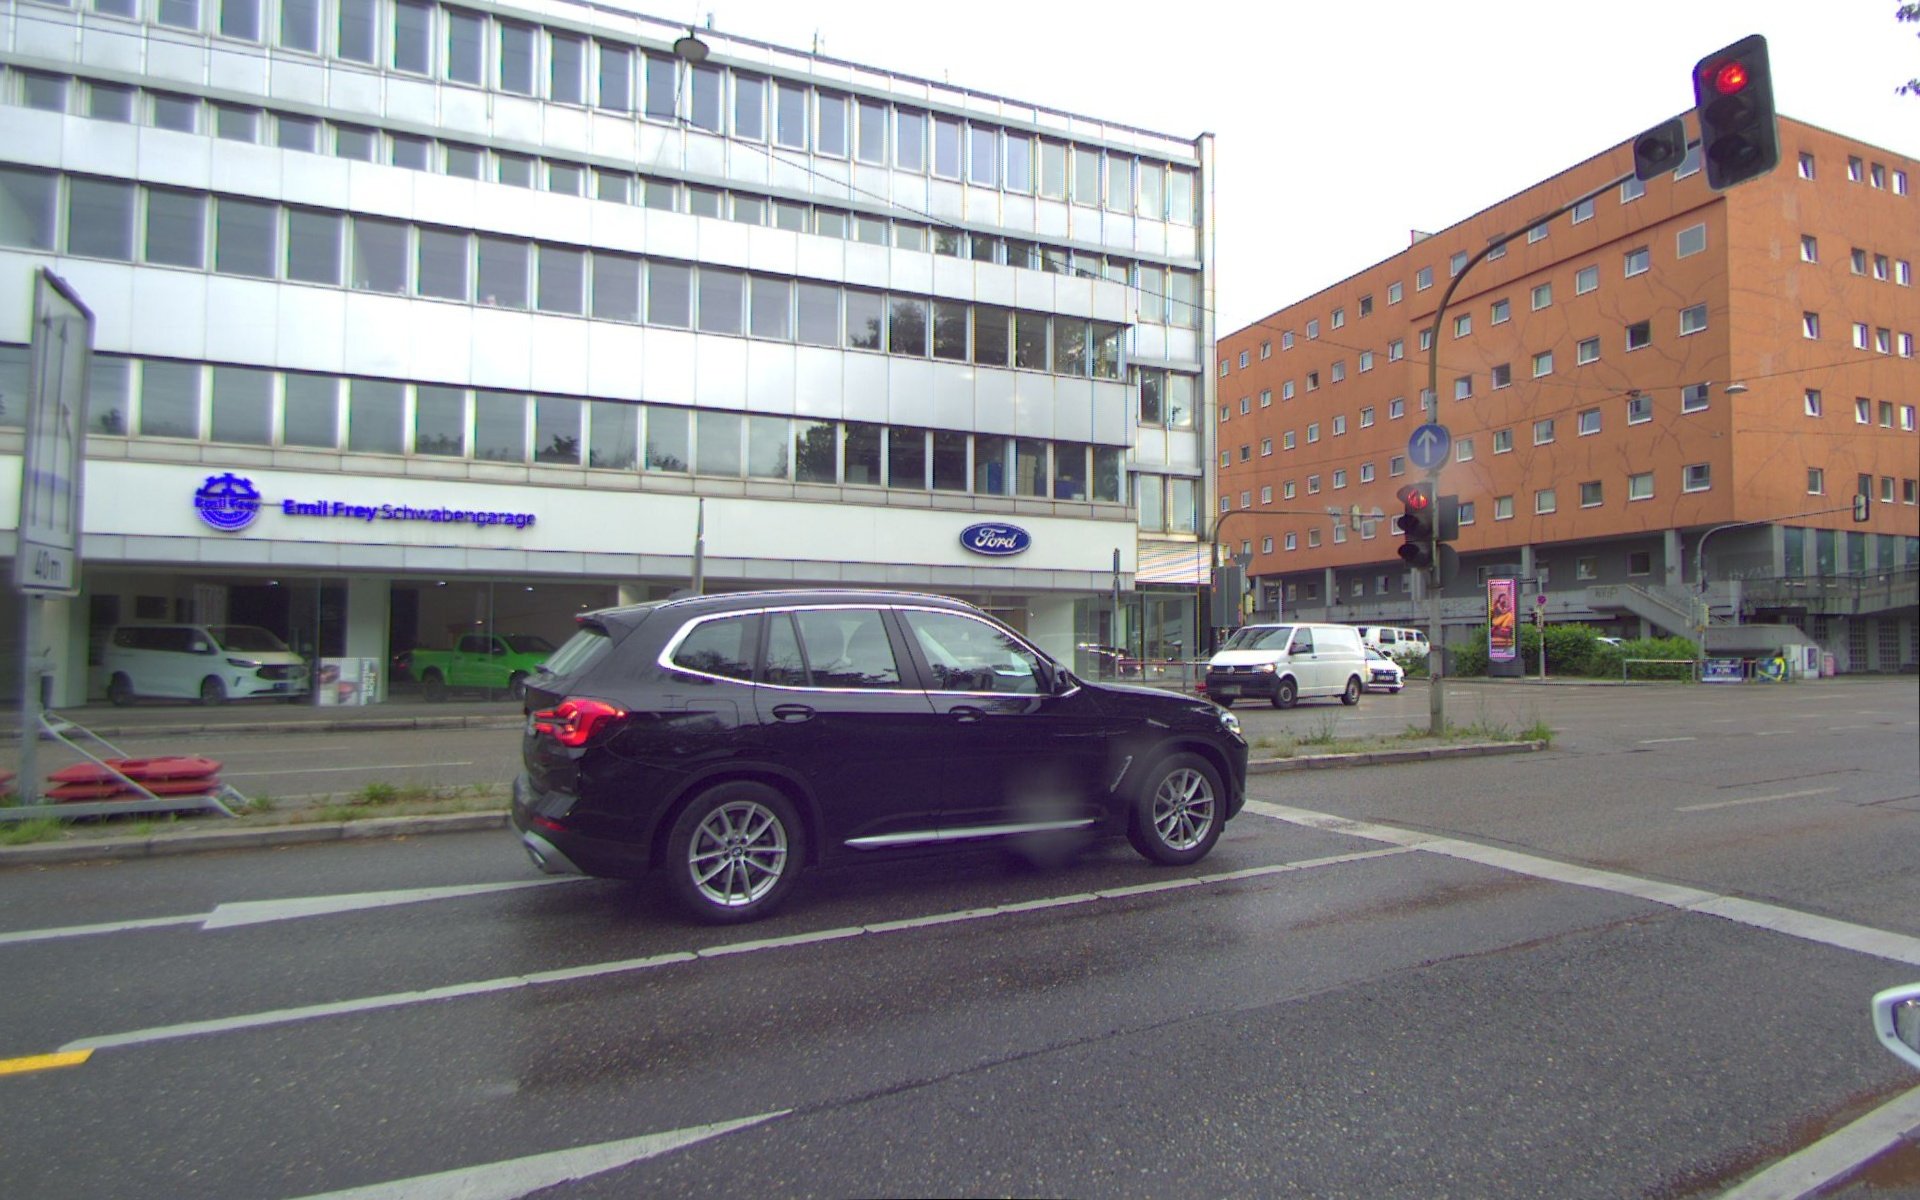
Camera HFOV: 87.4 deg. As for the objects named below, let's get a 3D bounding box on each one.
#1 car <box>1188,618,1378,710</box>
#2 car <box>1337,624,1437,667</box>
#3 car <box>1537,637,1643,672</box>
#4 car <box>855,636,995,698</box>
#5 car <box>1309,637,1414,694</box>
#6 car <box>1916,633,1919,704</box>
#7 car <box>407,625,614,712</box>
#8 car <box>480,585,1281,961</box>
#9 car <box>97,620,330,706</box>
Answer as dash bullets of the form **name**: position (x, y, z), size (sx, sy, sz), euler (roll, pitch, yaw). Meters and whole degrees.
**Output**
- **car**: position (7.764, 1.527, 23.844), size (5.175, 1.957, 1.976), euler (3, -5, -43)
- **car**: position (22.201, 2.359, 52.252), size (4.783, 2.040, 1.989), euler (2, 1, -23)
- **car**: position (30.400, 2.664, 48.588), size (1.865, 1.638, 4.011), euler (1, -4, -20)
- **car**: position (-1.178, 2.098, 31.288), size (1.983, 1.761, 4.721), euler (3, -5, -38)
- **car**: position (12.800, 2.123, 32.360), size (1.959, 1.659, 4.830), euler (-1, -4, 7)
- **car**: position (24.190, 1.549, 21.892), size (1.857, 1.659, 4.495), euler (1, -2, -27)
- **car**: position (-11.493, 1.769, 25.668), size (5.109, 2.037, 1.999), euler (-2, -4, 26)
- **car**: position (-0.411, 0.766, 6.257), size (4.610, 1.619, 1.940), euler (0, 0, -28)
- **car**: position (-18.043, 1.555, 24.320), size (4.889, 1.921, 2.001), euler (-2, -4, 17)
